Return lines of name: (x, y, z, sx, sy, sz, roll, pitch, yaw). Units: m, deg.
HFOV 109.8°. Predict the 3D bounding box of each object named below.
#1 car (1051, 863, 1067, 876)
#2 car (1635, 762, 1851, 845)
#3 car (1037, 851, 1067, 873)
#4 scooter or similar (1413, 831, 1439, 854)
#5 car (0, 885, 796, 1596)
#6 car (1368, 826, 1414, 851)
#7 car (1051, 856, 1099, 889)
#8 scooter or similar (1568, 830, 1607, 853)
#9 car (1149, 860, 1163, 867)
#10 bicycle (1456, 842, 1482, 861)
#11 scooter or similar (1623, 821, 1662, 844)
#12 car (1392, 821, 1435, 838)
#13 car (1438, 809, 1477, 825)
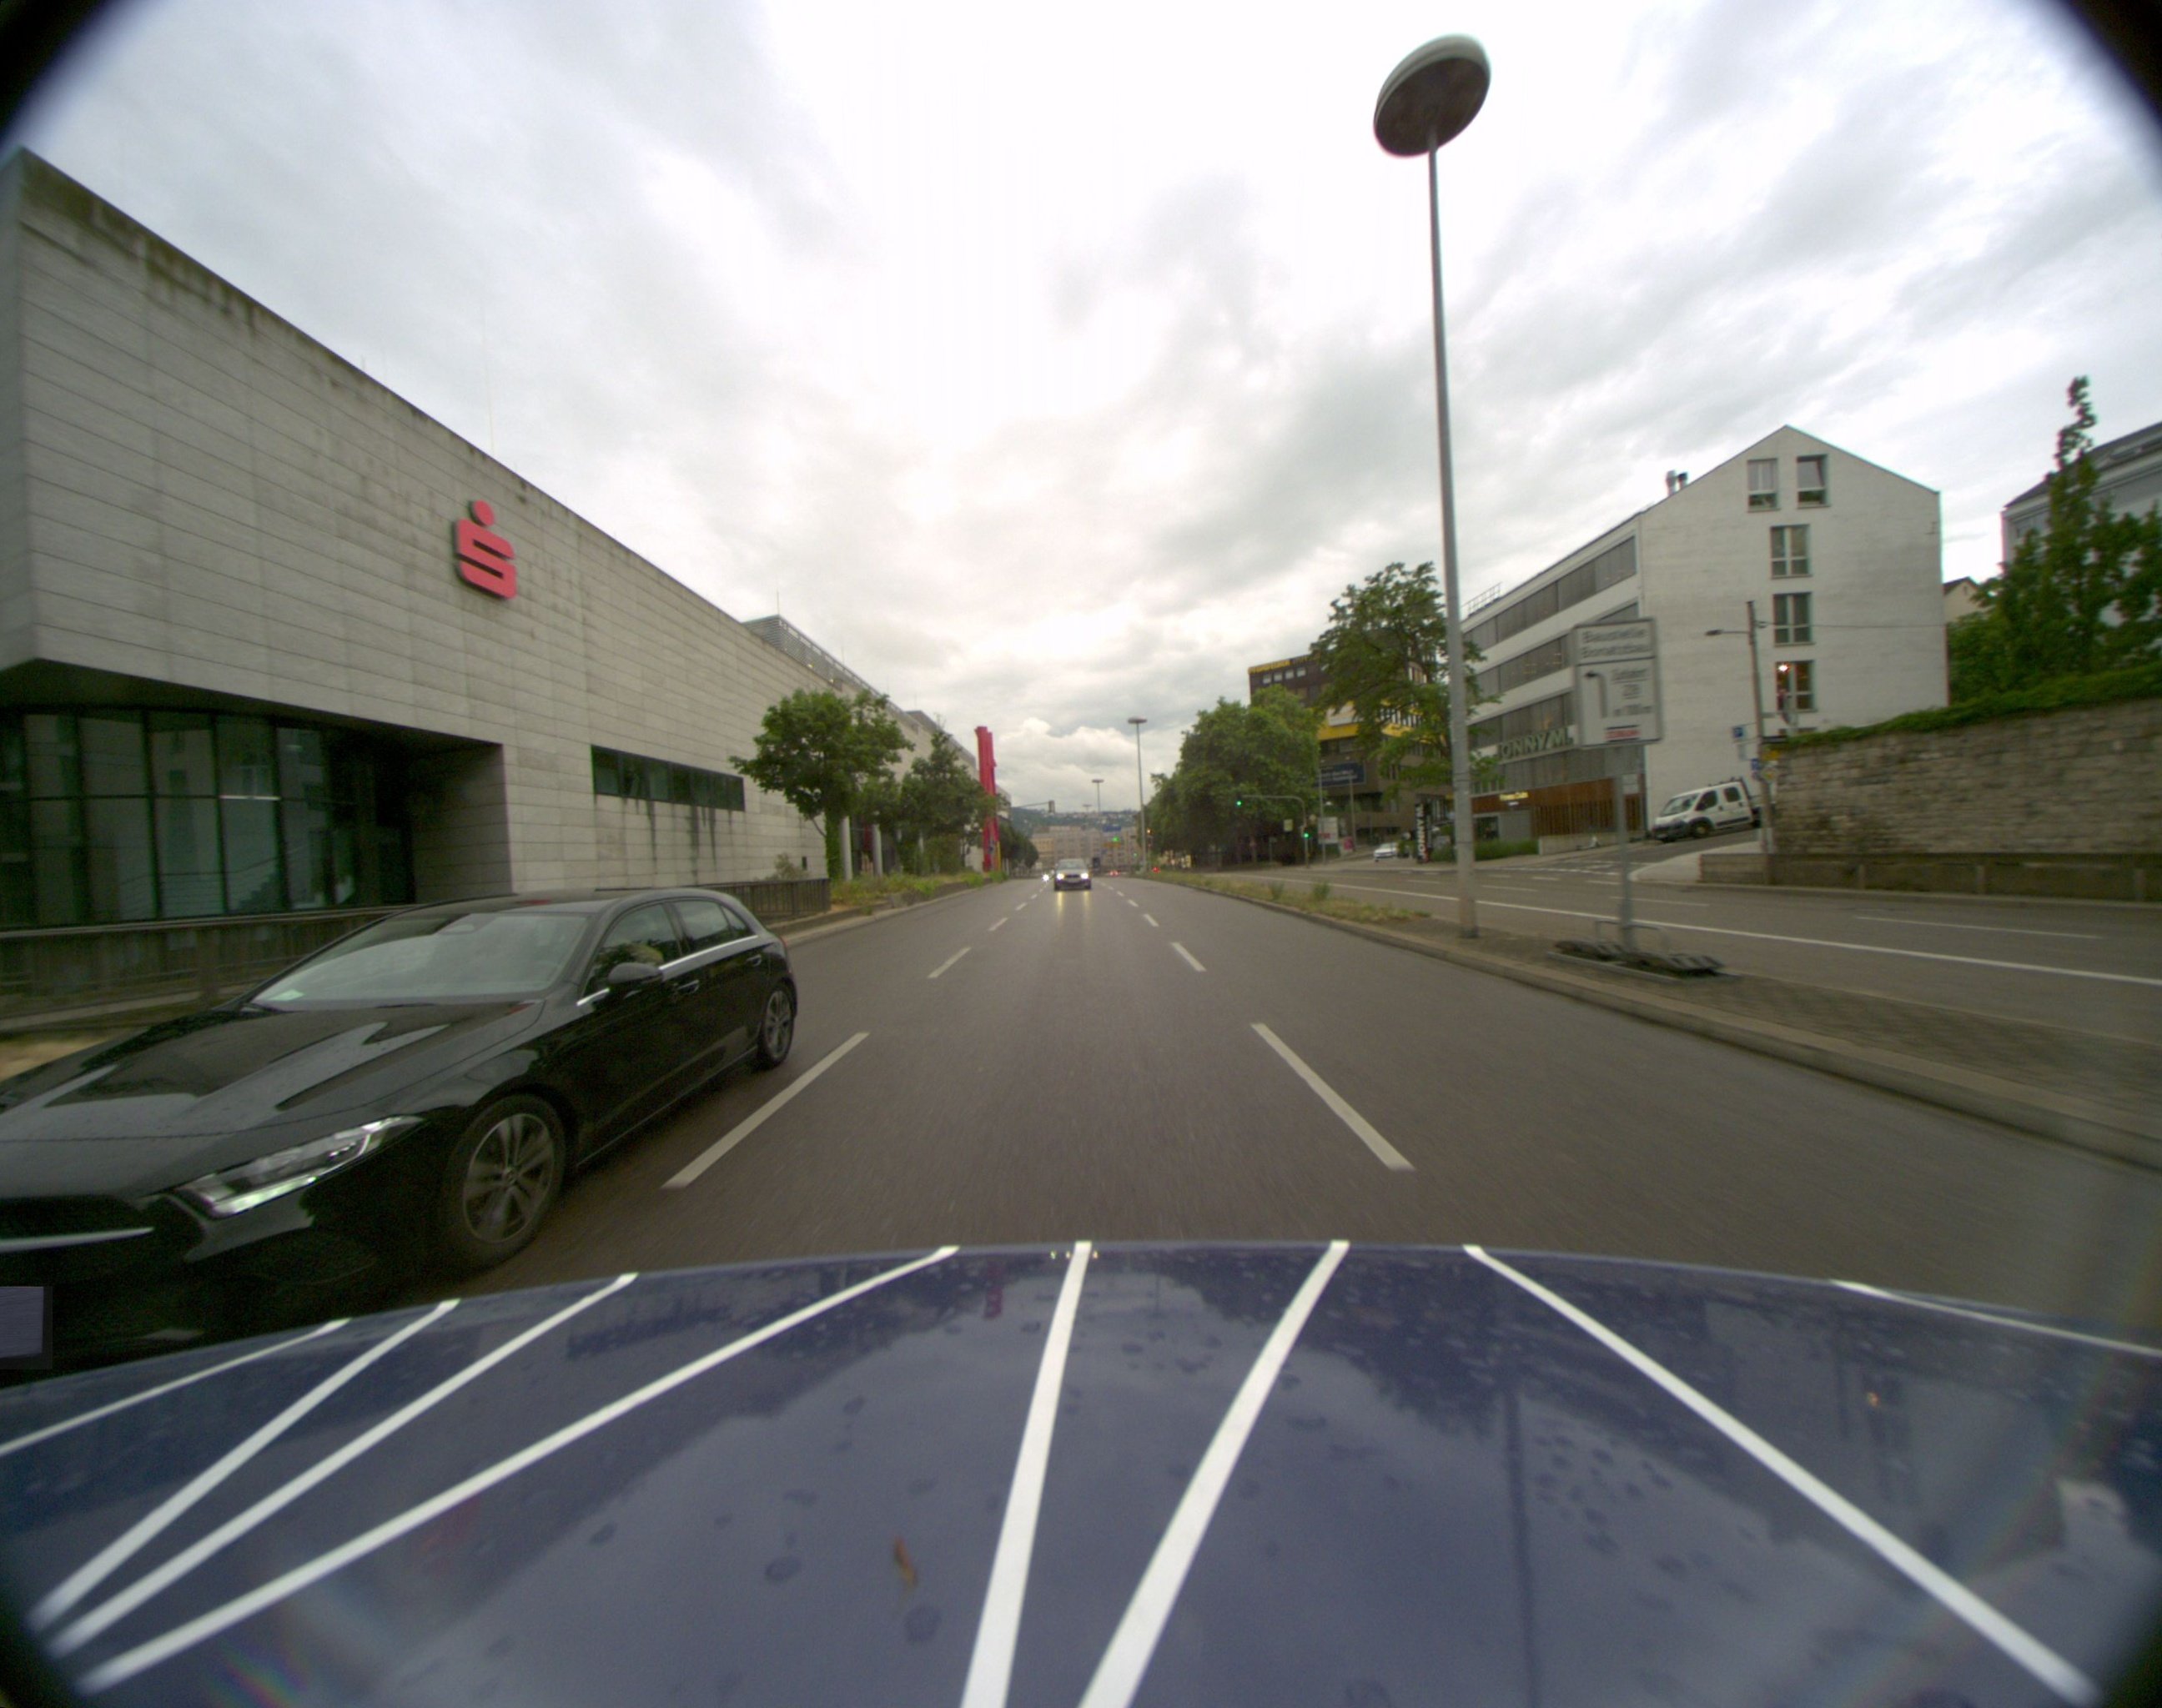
car: (-2.730, 1.875, 93.450, 1.863, 1.428, 4.204, -2, 0, -1)
car: (28.943, -2.154, 33.423, 6.919, 2.261, 2.516, -9, -4, 1)
car: (-2.012, 0.567, 53.235, 1.863, 1.449, 4.206, 0, -2, 1)
scooter or similar: (20.642, -0.680, 45.424, 1.757, 1.240, 0.369, -6, 2, -29)
car: (-3.198, 1.017, 3.854, 1.877, 1.428, 4.204, -2, 1, 0)
car: (24.793, -1.254, 60.597, 1.995, 1.644, 4.852, -5, 1, 39)
car: (-0.226, 0.829, 35.959, 1.862, 1.428, 4.207, -1, 0, 4)
scooter or similar: (24.662, -0.607, 37.000, 1.473, 0.916, 0.444, -7, 0, -2)
car: (15.629, 1.993, 159.427, 1.999, 1.438, 4.880, -2, -1, -5)
bicycle: (21.060, -0.104, 41.263, 0.458, 0.985, 1.758, -3, 0, 0)
scooter or similar: (27.180, -1.023, 36.758, 1.473, 0.916, 0.444, -7, 0, -2)
car: (37.350, -2.734, 85.508, 3.989, 1.674, 1.824, -3, 0, 43)
car: (47.201, -4.595, 95.332, 3.989, 1.675, 1.823, -3, 4, 43)
